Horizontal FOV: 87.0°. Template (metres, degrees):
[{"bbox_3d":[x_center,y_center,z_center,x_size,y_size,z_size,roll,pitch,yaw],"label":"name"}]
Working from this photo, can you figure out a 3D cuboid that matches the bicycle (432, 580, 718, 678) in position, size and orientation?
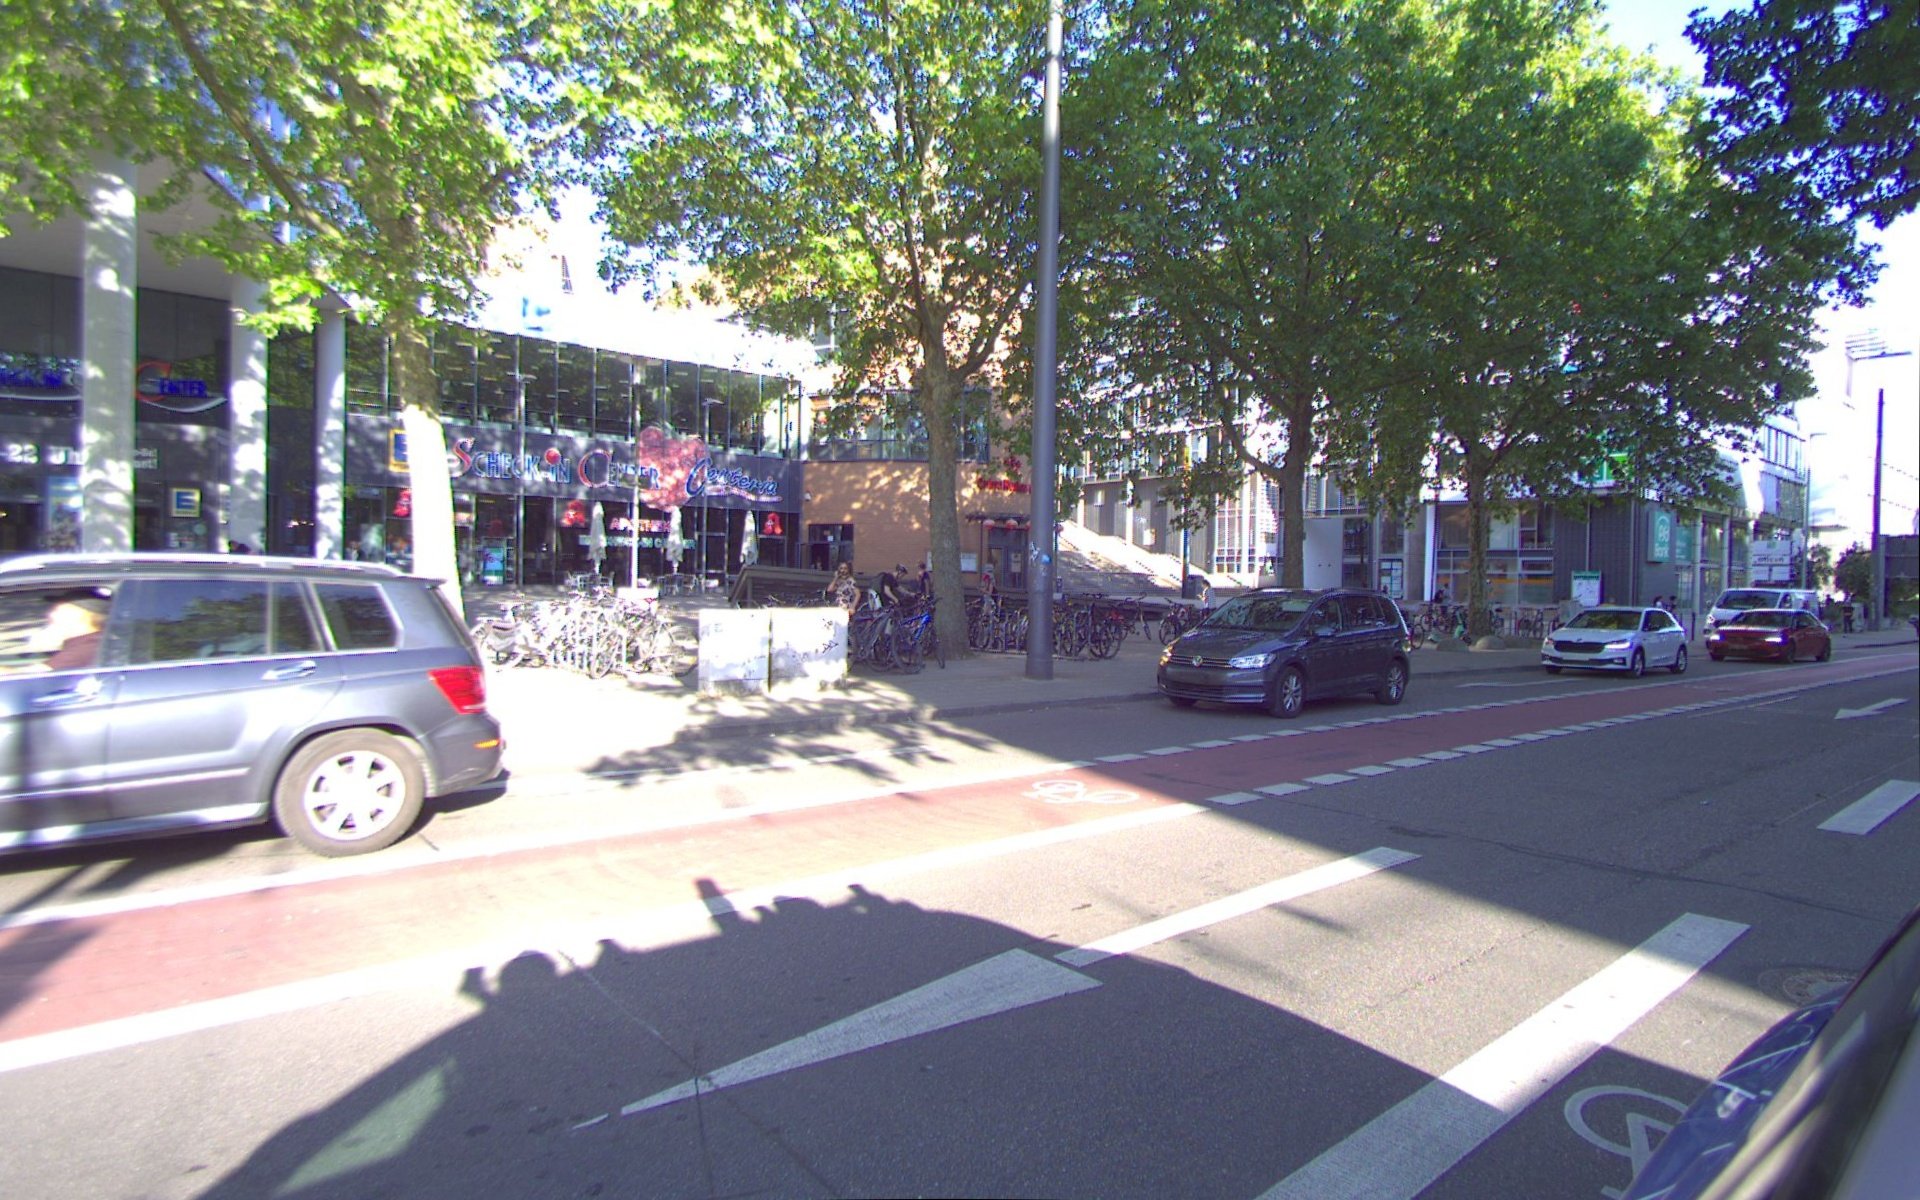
[{"bbox_3d":[-5.419,0.380,14.537,3.744,1.236,0.758,-2,-3,-35],"label":"bicycle"}]

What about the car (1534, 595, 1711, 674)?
[{"bbox_3d":[14.258,0.672,21.716,4.116,1.508,1.837,0,0,-36],"label":"car"}]

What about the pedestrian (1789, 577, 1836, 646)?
[{"bbox_3d":[25.937,0.353,30.796,0.959,2.039,0.816,1,-1,-31],"label":"pedestrian"}]

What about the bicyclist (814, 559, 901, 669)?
[{"bbox_3d":[-1.593,0.203,15.717,1.005,1.641,0.902,0,0,-41],"label":"bicyclist"}]

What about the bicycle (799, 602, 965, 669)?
[{"bbox_3d":[-1.202,0.521,16.050,2.591,0.960,0.924,-1,0,-41],"label":"bicycle"}]

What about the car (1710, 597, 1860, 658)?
[{"bbox_3d":[22.132,0.694,27.125,4.112,1.508,1.838,0,-1,-31],"label":"car"}]

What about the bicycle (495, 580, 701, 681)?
[{"bbox_3d":[-4.850,0.365,13.684,2.504,1.236,0.758,-2,1,-35],"label":"bicycle"}]

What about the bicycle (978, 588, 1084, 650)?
[{"bbox_3d":[1.447,0.352,20.348,2.263,1.177,0.671,-1,0,-38],"label":"bicycle"}]

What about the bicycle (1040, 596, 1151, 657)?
[{"bbox_3d":[2.576,0.467,19.049,2.295,1.073,0.682,-1,1,-39],"label":"bicycle"}]

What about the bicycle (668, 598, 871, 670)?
[{"bbox_3d":[-3.229,0.539,17.500,3.352,1.013,1.051,-1,6,-41],"label":"bicycle"}]

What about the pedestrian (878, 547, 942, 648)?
[{"bbox_3d":[-1.037,-0.066,21.114,0.922,2.039,1.085,2,1,24],"label":"pedestrian"}]

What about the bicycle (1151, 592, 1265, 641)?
[{"bbox_3d":[6.475,0.395,26.760,1.124,1.097,3.342,0,2,-23],"label":"bicycle"}]

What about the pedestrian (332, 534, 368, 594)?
[{"bbox_3d":[-18.240,-1.075,30.278,0.823,1.765,0.645,0,1,-41],"label":"pedestrian"}]

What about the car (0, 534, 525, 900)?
[{"bbox_3d":[-4.765,0.517,5.378,4.177,1.656,1.767,0,0,-42],"label":"car"}]

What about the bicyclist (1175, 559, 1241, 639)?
[{"bbox_3d":[6.532,-0.055,26.678,1.132,2.039,1.301,0,1,-24],"label":"bicyclist"}]

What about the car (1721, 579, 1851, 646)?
[{"bbox_3d":[26.449,0.360,32.320,5.809,1.989,1.934,0,0,-37],"label":"car"}]

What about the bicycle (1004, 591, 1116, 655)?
[{"bbox_3d":[1.975,0.413,19.769,2.355,1.177,0.750,-1,0,-40],"label":"bicycle"}]

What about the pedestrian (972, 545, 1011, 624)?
[{"bbox_3d":[0.902,-0.450,29.300,0.884,2.261,0.845,0,0,-19],"label":"pedestrian"}]

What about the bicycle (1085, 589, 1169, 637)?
[{"bbox_3d":[4.497,0.328,27.107,2.653,1.215,0.698,-1,1,-41],"label":"bicycle"}]

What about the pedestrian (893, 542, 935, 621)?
[{"bbox_3d":[-1.360,-0.541,29.533,1.195,2.276,1.052,0,0,-3],"label":"pedestrian"}]

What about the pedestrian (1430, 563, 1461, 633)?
[{"bbox_3d":[18.755,-0.071,39.119,0.967,2.681,0.897,0,0,18],"label":"pedestrian"}]

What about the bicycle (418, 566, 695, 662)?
[{"bbox_3d":[-5.931,0.257,15.158,3.743,1.236,0.729,4,-2,-35],"label":"bicycle"}]

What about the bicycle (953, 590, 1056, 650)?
[{"bbox_3d":[0.945,0.386,20.885,2.251,1.177,0.657,-1,0,-38],"label":"bicycle"}]

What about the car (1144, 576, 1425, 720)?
[{"bbox_3d":[4.529,0.545,13.776,4.315,1.656,1.708,0,0,-42],"label":"car"}]

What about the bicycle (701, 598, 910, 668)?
[{"bbox_3d":[-2.450,0.487,16.535,3.352,1.014,1.050,-1,0,-41],"label":"bicycle"}]
